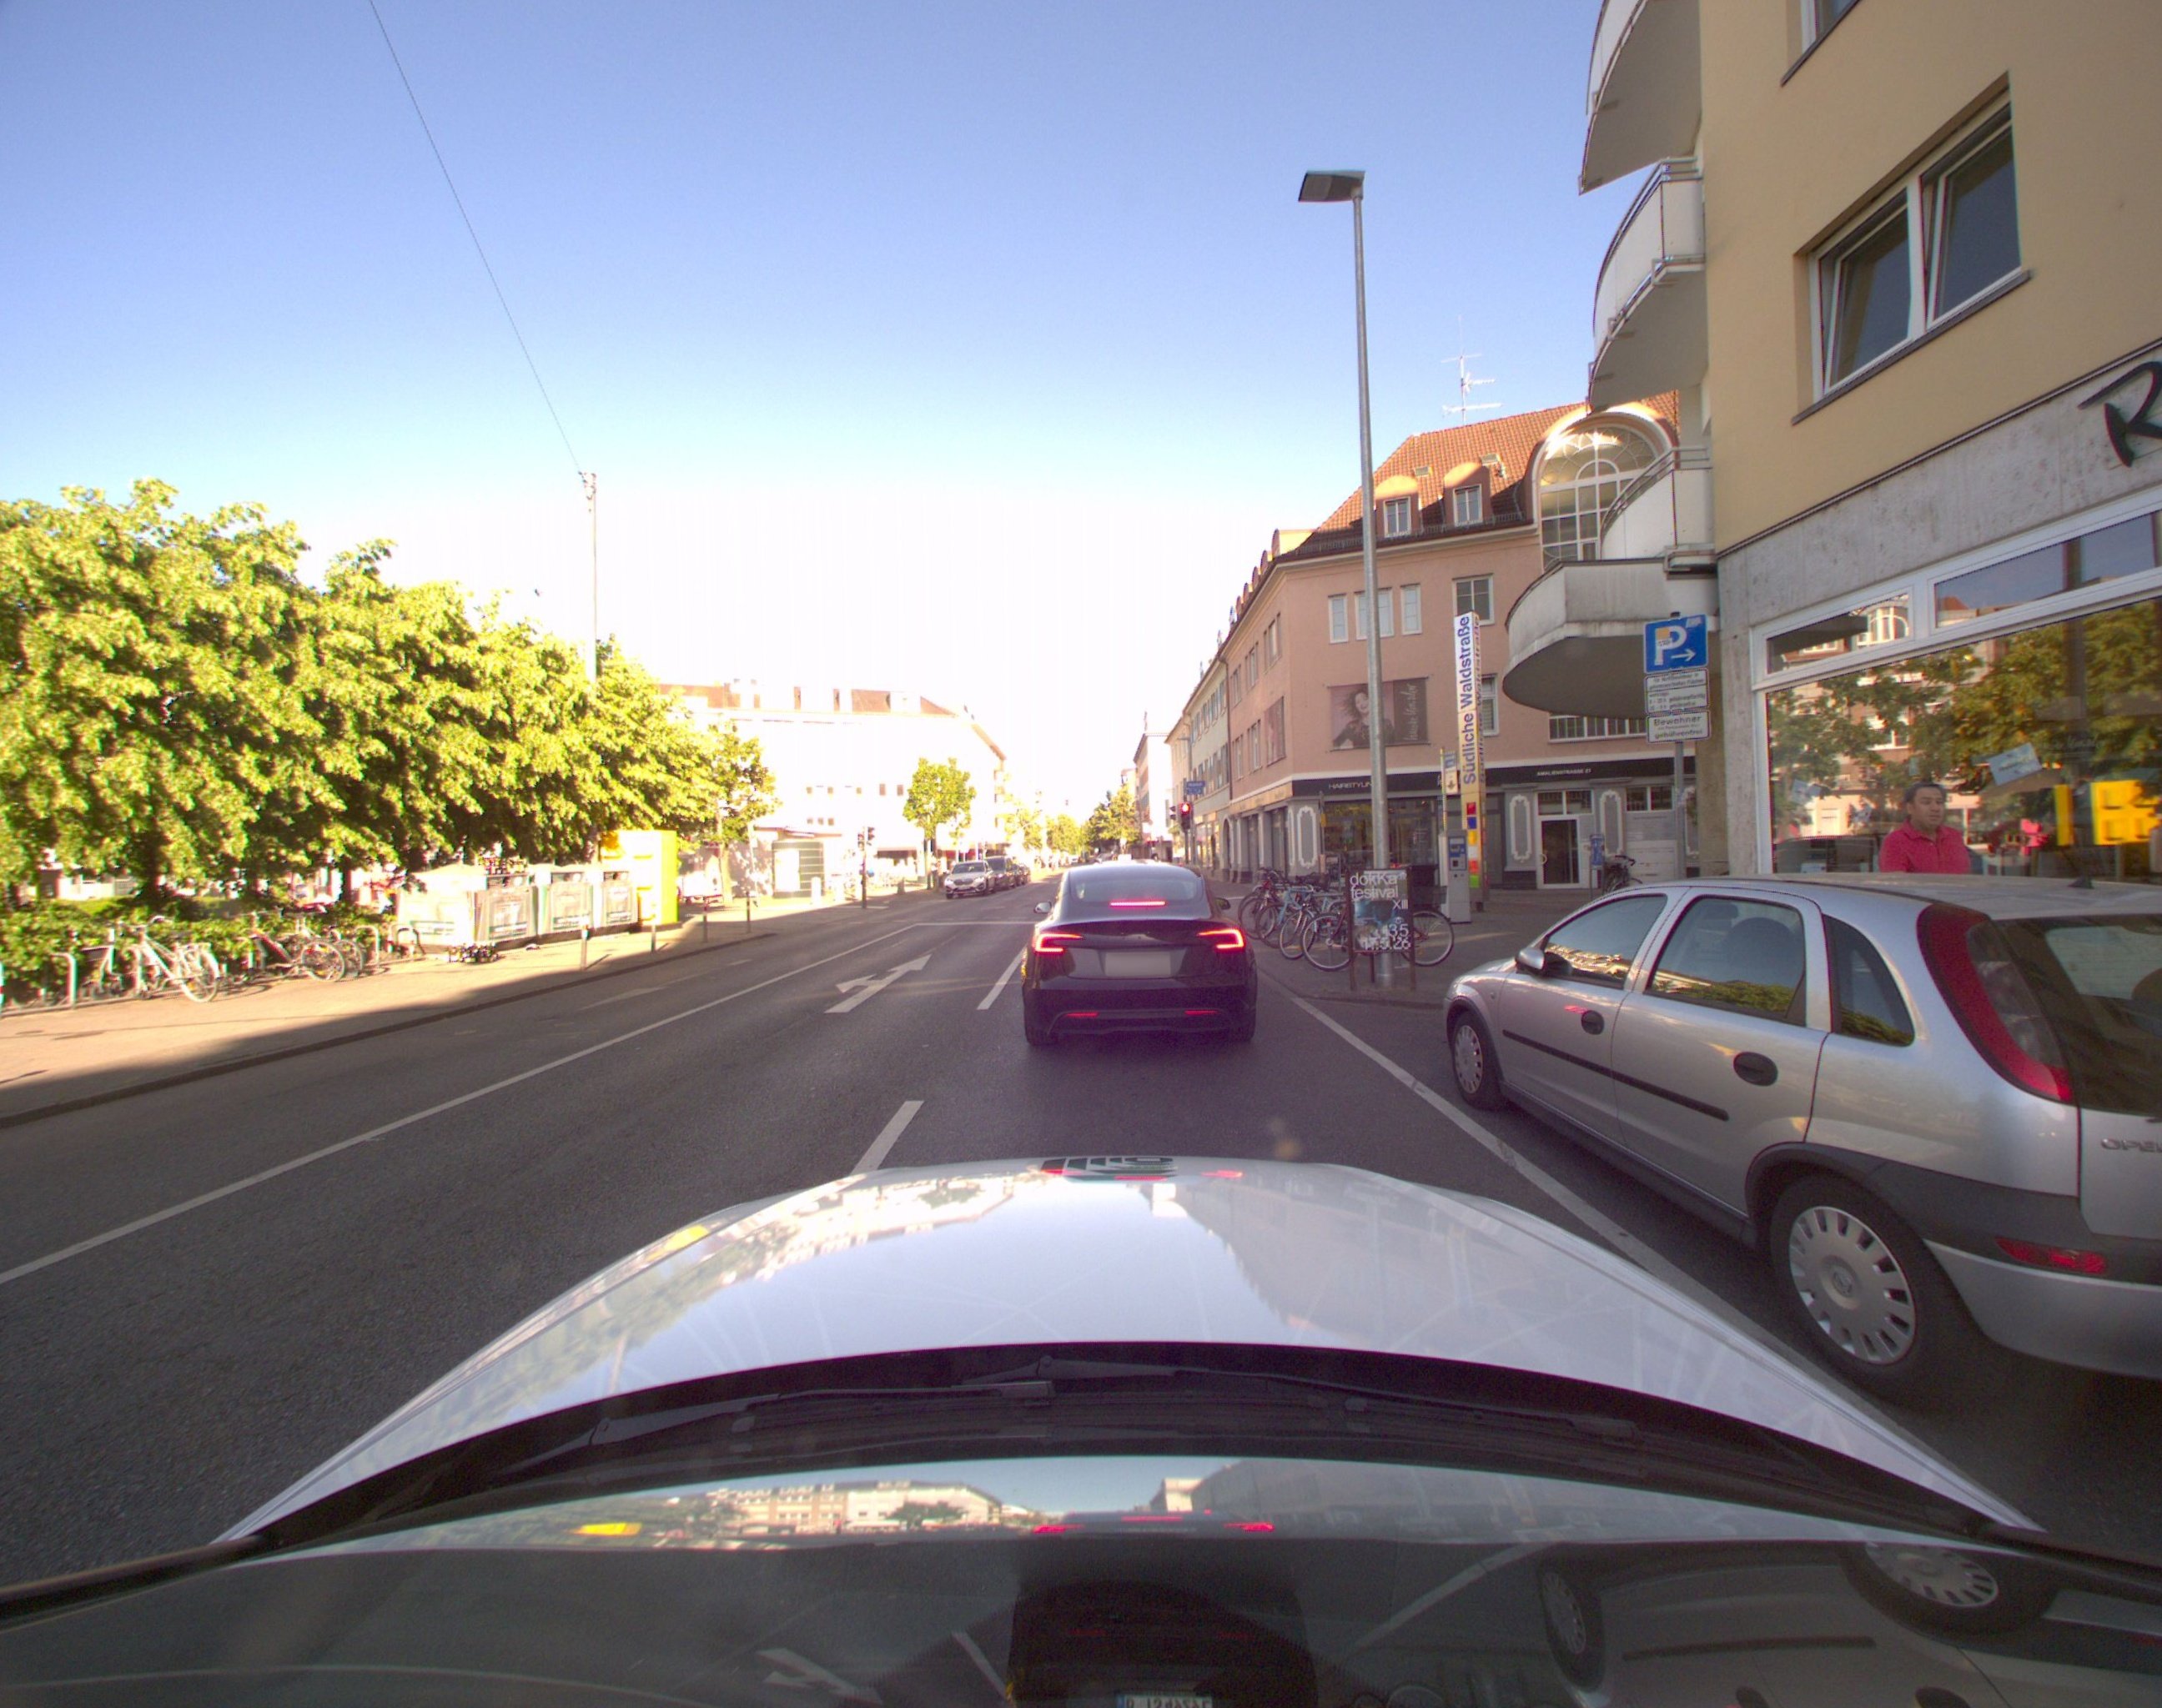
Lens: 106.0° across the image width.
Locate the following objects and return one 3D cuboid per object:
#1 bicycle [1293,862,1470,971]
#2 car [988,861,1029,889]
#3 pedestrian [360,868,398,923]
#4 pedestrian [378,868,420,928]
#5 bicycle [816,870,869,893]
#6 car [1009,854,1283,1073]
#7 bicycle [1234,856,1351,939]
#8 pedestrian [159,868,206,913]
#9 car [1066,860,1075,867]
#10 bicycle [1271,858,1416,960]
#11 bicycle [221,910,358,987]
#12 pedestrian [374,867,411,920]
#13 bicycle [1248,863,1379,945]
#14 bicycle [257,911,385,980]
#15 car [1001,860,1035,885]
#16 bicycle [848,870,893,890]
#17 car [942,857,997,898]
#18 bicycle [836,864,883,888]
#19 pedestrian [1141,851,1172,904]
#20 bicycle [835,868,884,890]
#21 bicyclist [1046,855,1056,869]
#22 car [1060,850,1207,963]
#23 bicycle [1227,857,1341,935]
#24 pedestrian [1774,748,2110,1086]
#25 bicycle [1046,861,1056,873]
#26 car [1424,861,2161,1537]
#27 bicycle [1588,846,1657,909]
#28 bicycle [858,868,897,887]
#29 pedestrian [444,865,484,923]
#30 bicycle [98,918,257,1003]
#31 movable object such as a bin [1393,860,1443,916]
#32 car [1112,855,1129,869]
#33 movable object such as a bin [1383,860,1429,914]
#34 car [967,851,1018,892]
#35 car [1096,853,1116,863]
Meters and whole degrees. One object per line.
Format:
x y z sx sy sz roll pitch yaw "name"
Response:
3.643 0.757 10.003 1.876 1.193 0.693 -3 0 7 "bicycle"
-4.362 1.237 49.665 1.988 1.410 4.672 -5 0 -1 "car"
-26.347 1.545 30.571 0.980 2.013 0.910 -2 -1 38 "pedestrian"
-23.853 1.509 28.484 0.980 2.013 0.910 -2 -1 38 "pedestrian"
-12.580 1.445 43.004 2.497 1.156 0.843 -1 0 0 "bicycle"
0.504 0.764 7.591 1.841 1.455 4.001 -2 0 2 "car"
3.512 0.716 13.672 1.738 1.267 0.782 -3 -1 4 "bicycle"
-41.131 1.659 37.293 1.272 2.013 0.908 -1 0 13 "pedestrian"
-2.501 2.154 187.355 1.988 1.637 3.998 -1 0 -1 "car"
3.547 0.731 11.138 1.713 1.268 0.792 -3 -1 7 "bicycle"
-11.313 1.343 11.654 1.561 1.023 0.430 -1 0 3 "bicycle"
-26.622 1.513 31.498 0.980 2.013 0.910 -2 -1 38 "pedestrian"
3.527 0.759 12.491 1.788 1.124 0.783 -3 -1 7 "bicycle"
-11.359 1.364 12.182 1.517 0.958 0.431 -1 1 3 "bicycle"
-4.393 1.261 57.262 1.988 1.436 4.672 -5 0 -1 "car"
-12.949 1.578 50.239 2.528 1.156 0.841 -1 0 -4 "bicycle"
-4.941 0.997 36.583 1.802 1.555 4.308 -5 0 -1 "car"
-12.905 1.252 47.480 2.472 1.324 0.921 -1 0 -4 "bicycle"
2.231 0.683 24.178 0.746 1.552 0.697 -1 0 -8 "pedestrian"
-12.375 1.373 45.534 2.453 1.156 0.843 -1 0 0 "bicycle"
-3.510 0.927 95.869 1.123 1.628 0.965 -1 0 -1 "bicyclist"
0.745 0.729 13.298 1.987 1.512 4.175 -1 0 0 "car"
3.627 0.744 14.700 1.851 1.258 0.834 -3 -1 7 "bicycle"
5.090 0.354 4.927 0.859 1.784 1.011 -5 -1 10 "pedestrian"
-3.483 1.542 95.773 1.108 1.344 3.998 -1 0 -1 "bicycle"
2.976 0.738 3.509 1.607 1.382 3.645 0 0 2 "car"
11.068 0.450 16.717 0.653 1.199 2.223 -2 0 21 "bicycle"
-13.165 1.523 52.674 2.318 1.156 0.841 -1 0 -4 "bicycle"
-22.195 1.424 29.289 0.980 2.013 0.910 -2 -1 38 "pedestrian"
-11.449 1.338 10.334 1.590 1.018 0.430 -1 0 3 "bicycle"
6.748 0.675 16.329 0.749 1.092 0.628 0 -1 3 "movable object such as a bin"
4.894 0.943 100.774 1.986 1.629 4.002 -2 0 2 "car"
6.757 0.680 16.967 0.730 1.092 0.628 0 -1 3 "movable object such as a bin"
-4.568 0.865 42.844 1.827 1.845 4.677 -5 0 2 "car"
5.107 0.841 167.660 3.974 2.013 2.000 -1 0 0 "car"
